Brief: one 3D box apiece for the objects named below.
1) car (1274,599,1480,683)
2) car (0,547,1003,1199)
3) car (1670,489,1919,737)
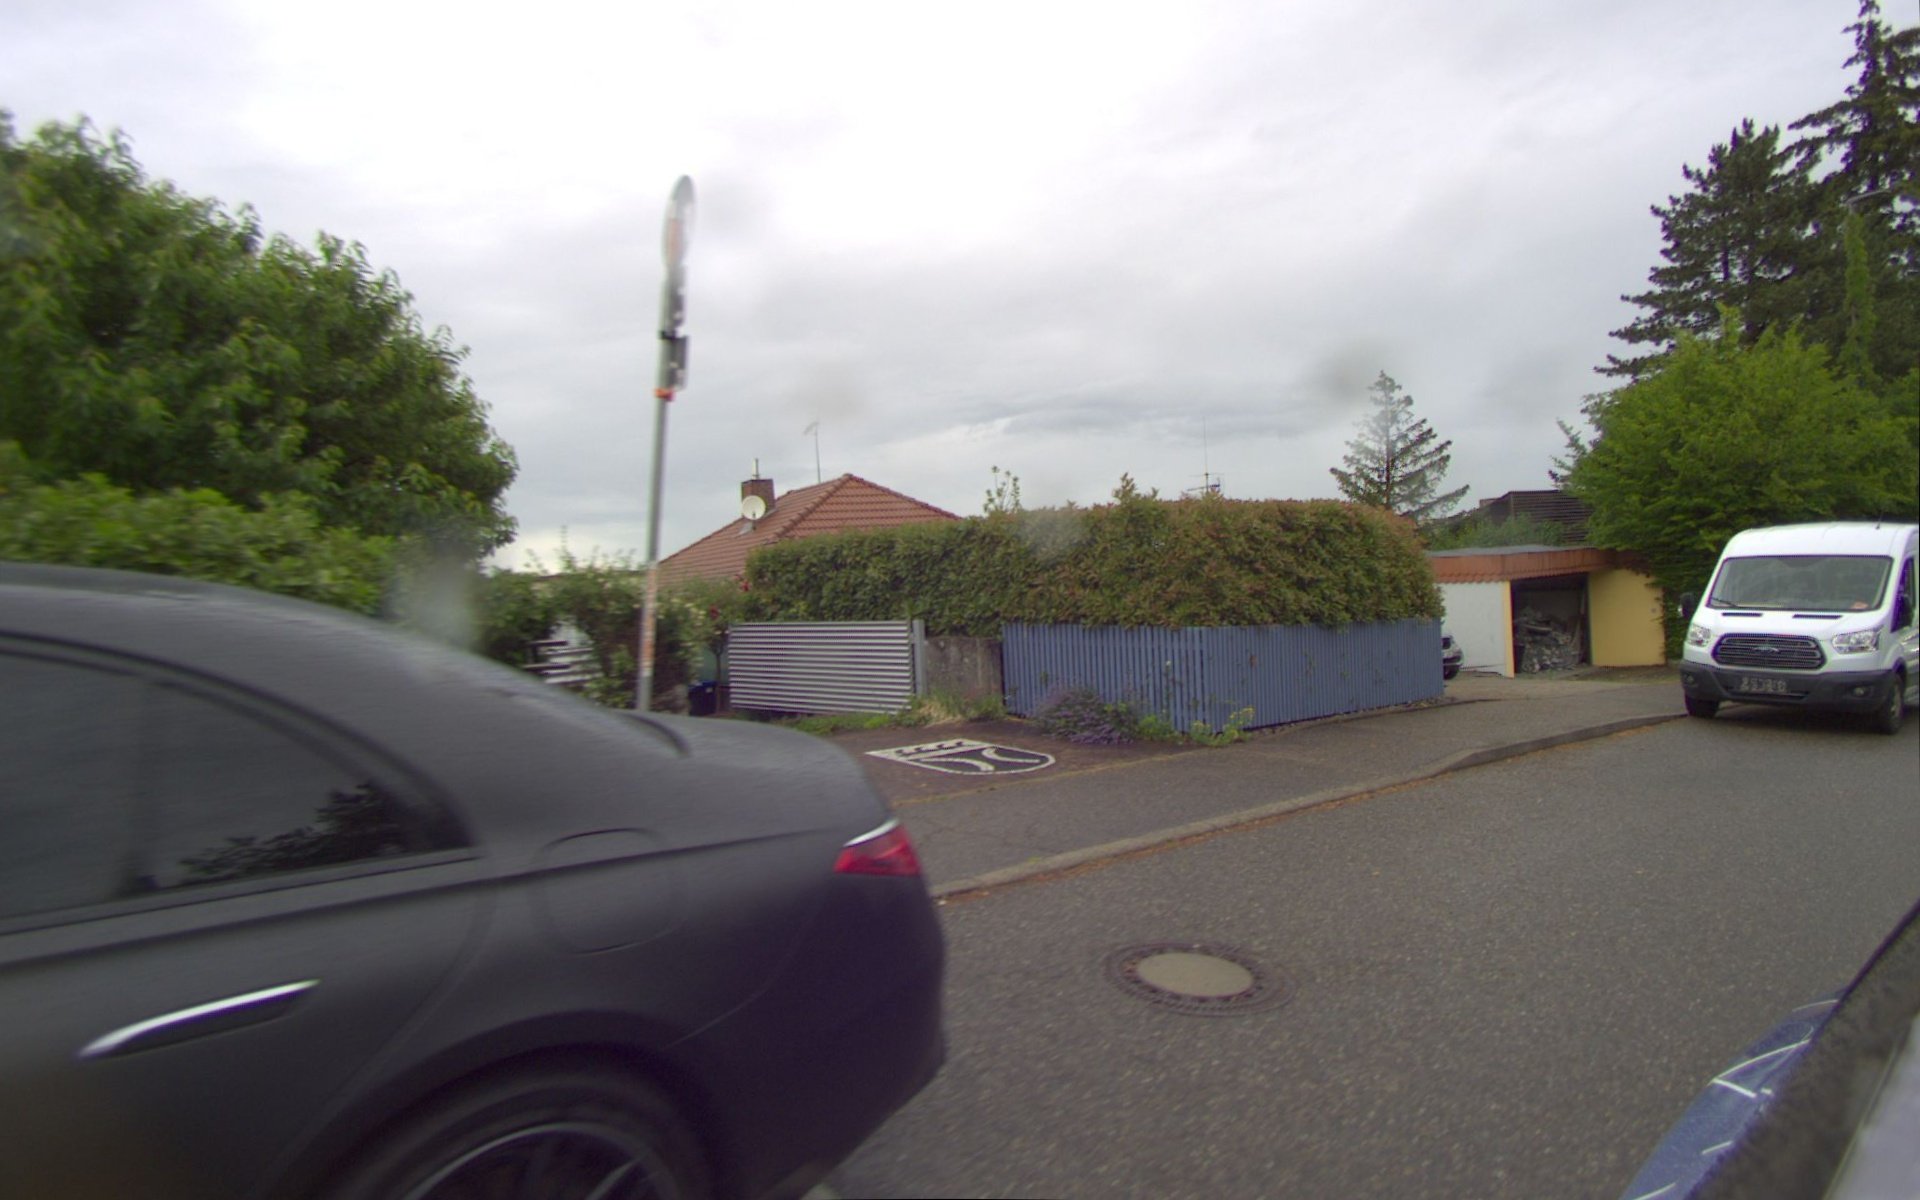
[{"bbox_3d":[8.231,0.878,20.290,1.624,1.477,3.598,0,-5,-24],"label":"car"},{"bbox_3d":[-2.377,0.688,1.252,4.976,1.546,1.860,0,1,-42],"label":"car"},{"bbox_3d":[11.548,0.104,13.202,6.068,2.582,2.078,0,0,-38],"label":"car"}]
